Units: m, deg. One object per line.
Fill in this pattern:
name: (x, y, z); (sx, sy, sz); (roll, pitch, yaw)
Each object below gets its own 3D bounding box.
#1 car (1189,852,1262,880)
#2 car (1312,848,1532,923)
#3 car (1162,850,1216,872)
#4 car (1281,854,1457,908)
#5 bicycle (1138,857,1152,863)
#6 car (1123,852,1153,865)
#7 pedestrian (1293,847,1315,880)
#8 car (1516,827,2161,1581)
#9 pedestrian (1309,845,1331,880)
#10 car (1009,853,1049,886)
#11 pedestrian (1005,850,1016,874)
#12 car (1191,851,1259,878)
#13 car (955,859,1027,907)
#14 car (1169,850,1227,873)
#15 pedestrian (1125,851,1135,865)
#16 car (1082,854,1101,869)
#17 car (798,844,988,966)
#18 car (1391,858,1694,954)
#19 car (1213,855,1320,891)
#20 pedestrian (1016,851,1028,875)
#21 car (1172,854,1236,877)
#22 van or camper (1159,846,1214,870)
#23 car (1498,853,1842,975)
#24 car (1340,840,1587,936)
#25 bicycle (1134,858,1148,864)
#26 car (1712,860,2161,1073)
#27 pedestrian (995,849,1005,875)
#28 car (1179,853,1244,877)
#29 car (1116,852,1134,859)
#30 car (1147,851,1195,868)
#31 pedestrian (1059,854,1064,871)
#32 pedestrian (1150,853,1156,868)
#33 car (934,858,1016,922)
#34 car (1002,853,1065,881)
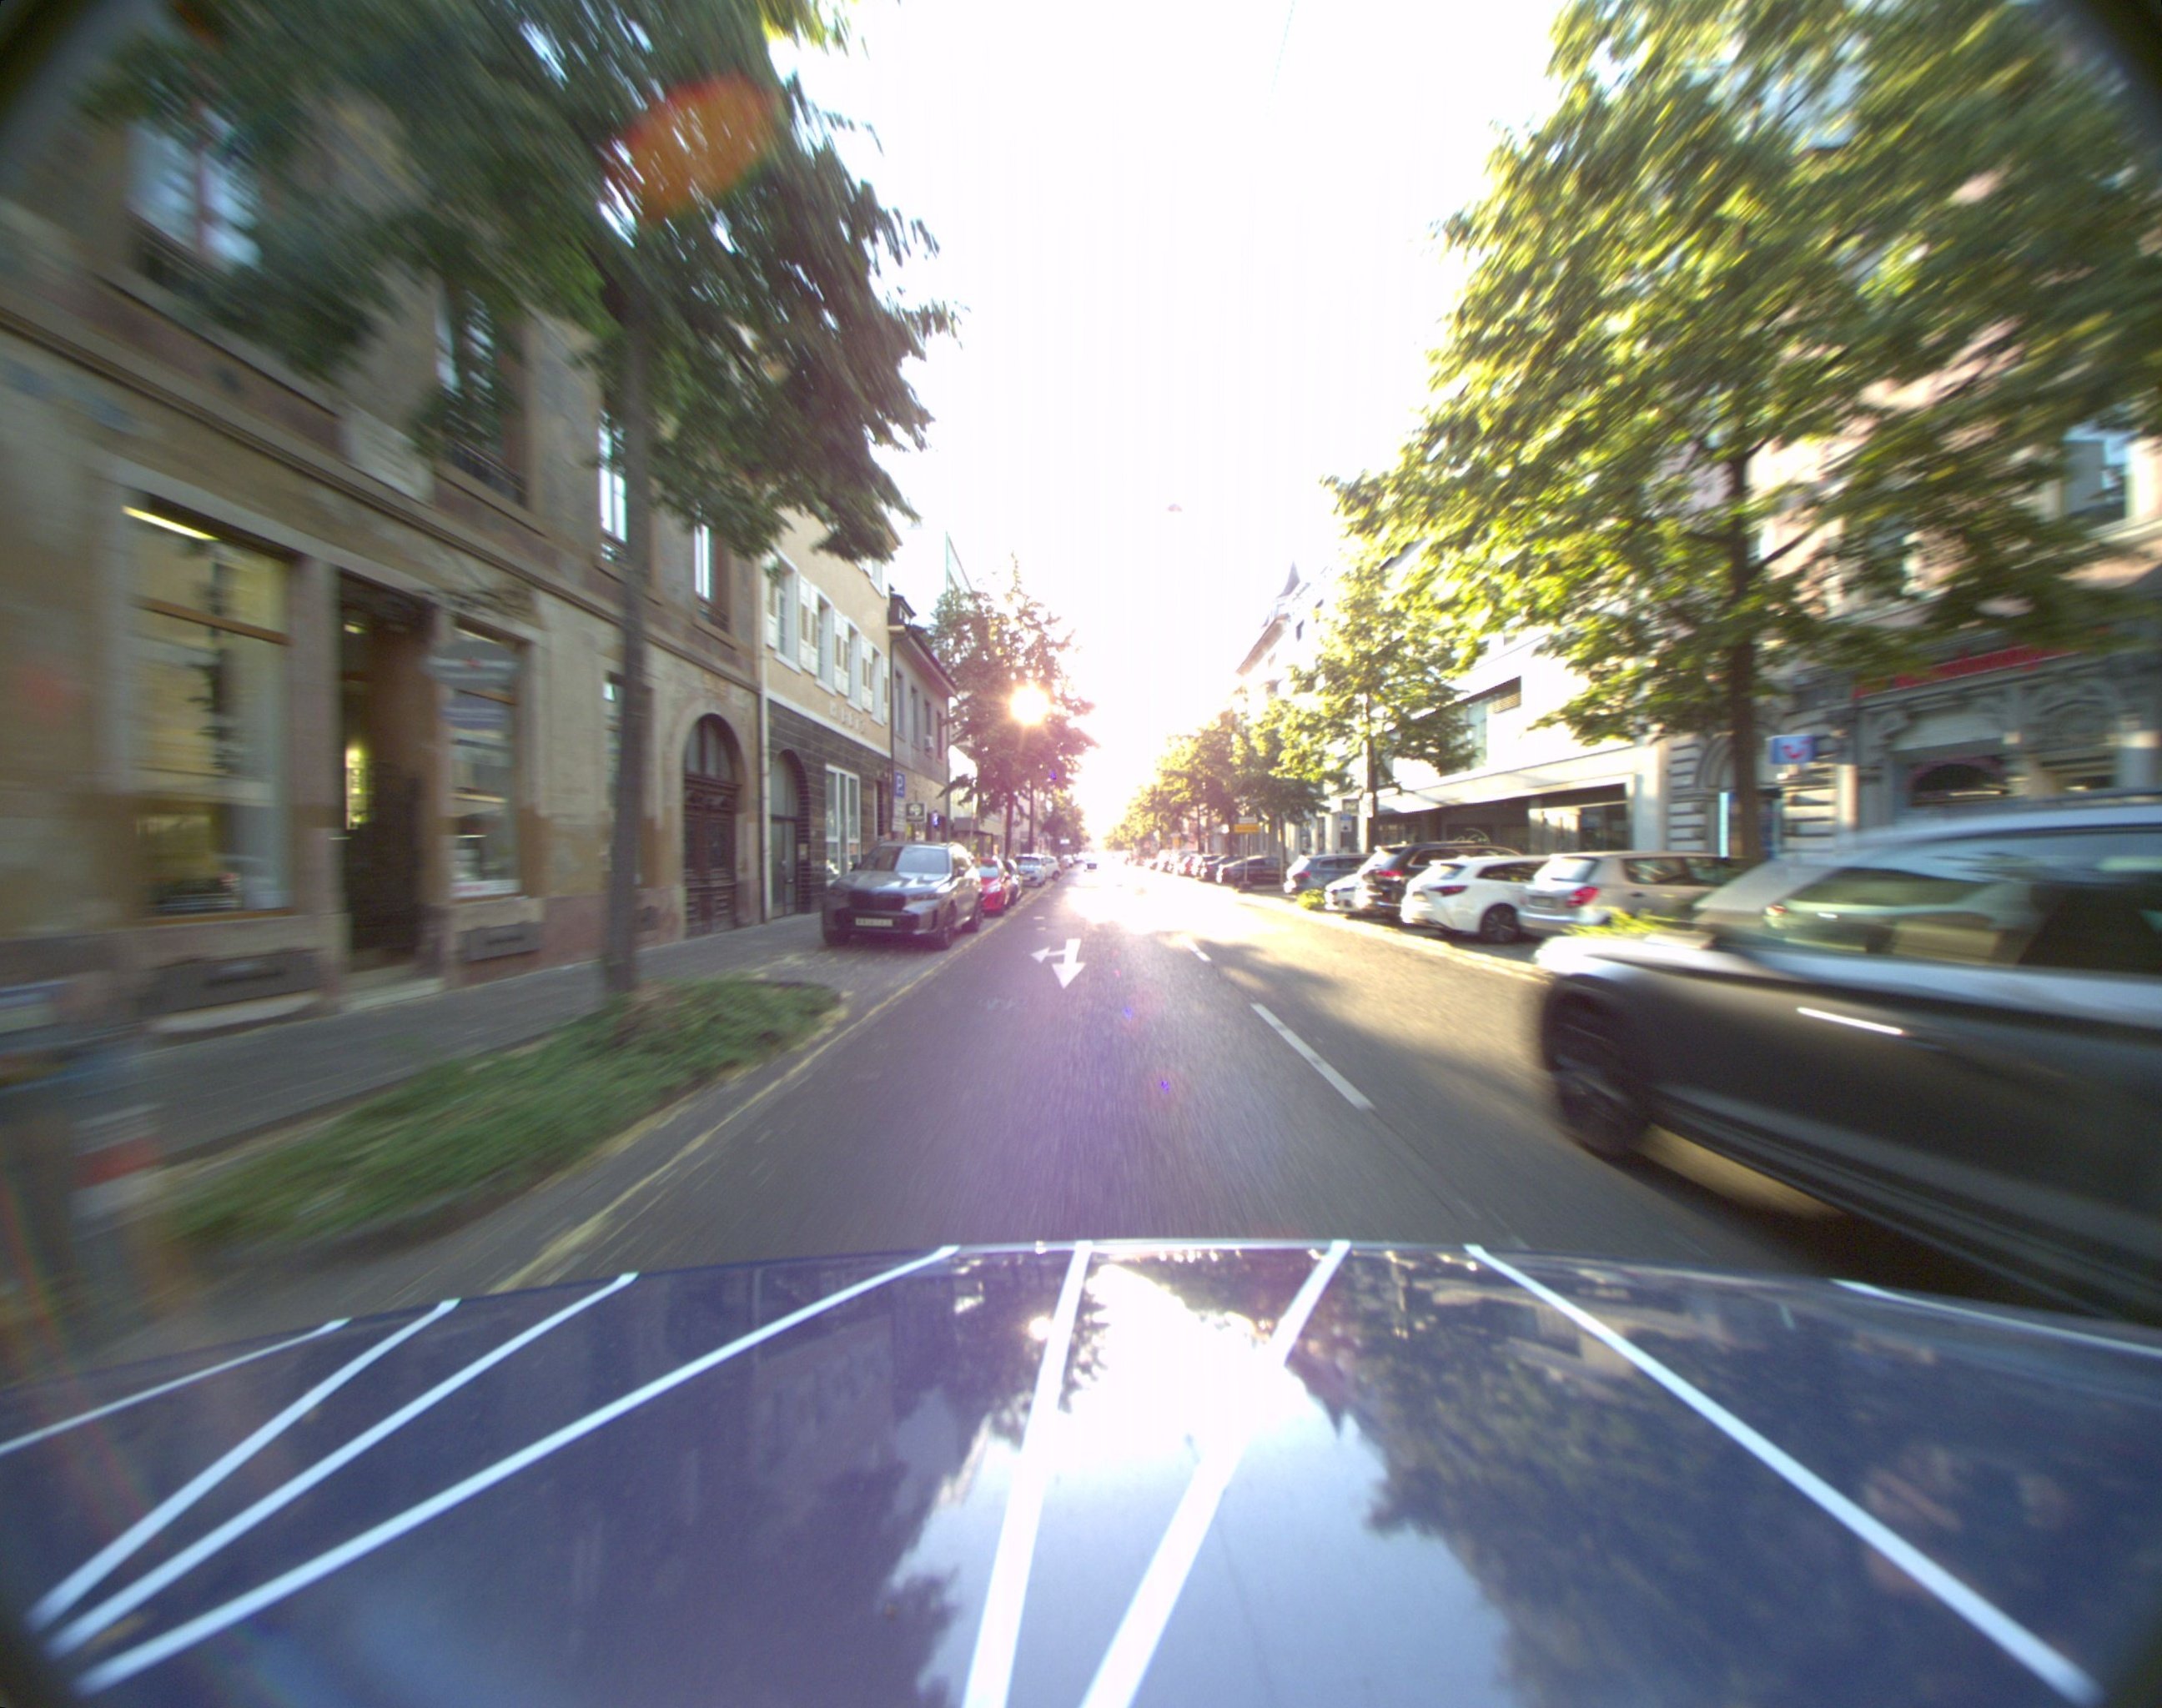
car: (8.450, 0.685, 44.636); (3.876, 1.558, 1.744); (-1, 0, -2)
car: (8.071, 0.726, 18.281); (4.417, 1.586, 1.890); (-2, 0, 0)
car: (8.661, 0.533, 61.262); (4.193, 1.659, 1.732); (-1, 1, 3)
car: (8.449, 0.774, 22.556); (4.559, 1.475, 1.744); (-1, 0, 1)
bicycle: (8.407, 0.848, 99.932); (1.796, 0.761, 0.408); (-1, 1, 13)
car: (8.691, 0.614, 115.834); (4.439, 1.832, 1.814); (-2, 0, 0)
pedestrian: (11.239, 0.477, 38.293); (0.721, 1.593, 1.094); (-3, 0, 1)
car: (3.341, 0.775, 1.988); (1.866, 1.682, 4.460); (0, 1, 0)
pedestrian: (11.989, 0.423, 38.172); (0.721, 1.739, 0.934); (-3, 1, 1)
car: (-2.526, 0.739, 37.724); (1.695, 1.534, 3.553); (1, 0, 0)
pedestrian: (-4.843, 0.547, 52.192); (0.607, 1.622, 0.668); (-1, 1, 0)
car: (8.889, 0.624, 47.185); (3.876, 1.558, 1.744); (-1, 0, -2)
car: (-2.874, 0.898, 25.227); (1.957, 1.382, 4.424); (2, 0, -2)
car: (8.638, 0.552, 56.451); (4.191, 1.528, 1.745); (-2, 1, 6)
pedestrian: (6.283, 0.497, 96.865); (0.898, 1.671, 0.795); (-1, 1, -36)
car: (1.093, 0.724, 75.683); (1.825, 1.469, 4.155); (-1, 0, 2)
car: (-3.051, 0.744, 13.479); (2.043, 1.727, 4.711); (2, 0, 2)
car: (7.810, 0.840, 13.130); (4.160, 1.413, 1.766); (-2, 0, -2)
car: (8.124, 0.800, 33.458); (4.285, 1.475, 1.744); (-1, 0, 1)
pedestrian: (-4.016, 0.579, 51.930); (0.748, 1.622, 0.855); (-1, 1, 0)
car: (8.398, 0.784, 52.068); (4.052, 1.378, 1.744); (-2, 0, -3)
van or camper: (8.890, 0.373, 64.310); (4.469, 1.945, 1.789); (-1, 0, 2)
car: (8.204, 0.781, 10.826); (3.565, 1.493, 1.716); (-2, 0, -1)
car: (7.799, 0.659, 15.789); (4.160, 1.762, 1.889); (-2, 0, -2)
bicycle: (7.843, 0.878, 98.968); (1.796, 0.761, 0.408); (-1, 1, 13)
car: (8.022, 0.833, 6.520); (3.748, 1.435, 1.805); (-2, 0, -2)
pedestrian: (-5.518, 0.529, 51.872); (0.607, 1.728, 0.668); (-1, 1, 0)
car: (8.508, 0.687, 49.674); (3.876, 1.448, 1.744); (-1, 0, -2)
car: (10.087, 0.312, 174.837); (4.151, 1.469, 1.827); (-1, 0, 1)
car: (8.816, 0.497, 74.739); (4.439, 1.516, 1.814); (-2, 0, 0)
pedestrian: (-1.696, 0.722, 66.404); (0.448, 1.472, 0.547); (1, 1, 2)
pedestrian: (7.746, 0.694, 81.826); (0.550, 1.638, 0.721); (-1, 1, 4)
car: (-2.740, 0.889, 20.437); (1.734, 1.479, 3.899); (2, 0, -2)
car: (-2.862, 0.804, 46.077); (1.661, 1.574, 3.632); (1, -1, 42)
